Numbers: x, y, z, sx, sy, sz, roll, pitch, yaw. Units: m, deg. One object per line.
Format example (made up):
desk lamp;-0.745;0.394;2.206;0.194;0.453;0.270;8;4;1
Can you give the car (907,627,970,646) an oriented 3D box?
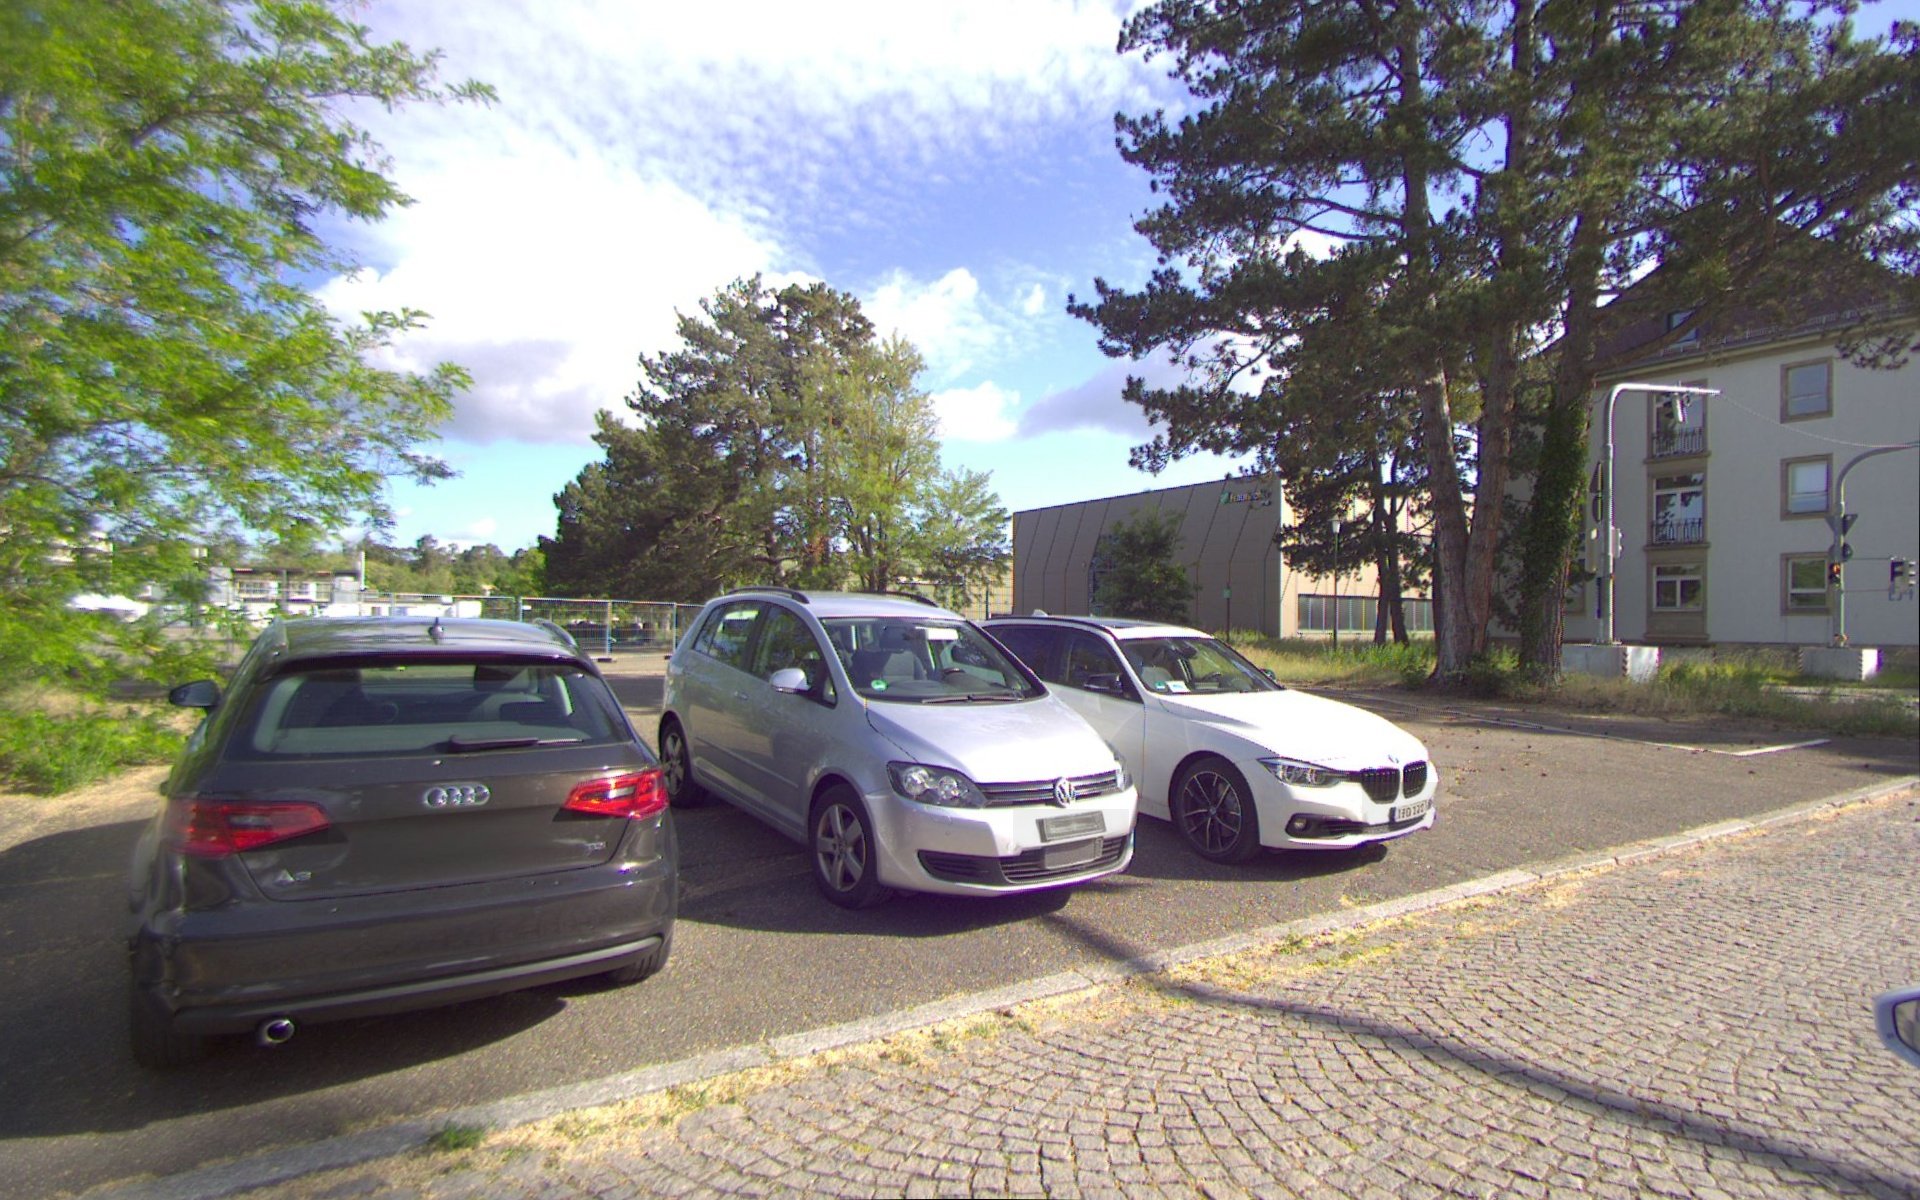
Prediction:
car;-1.428;2.453;66.955;3.951;1.221;1.481;1;-1;-29

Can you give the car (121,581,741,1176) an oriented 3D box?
car;-2.501;0.729;4.699;1.669;1.490;3.775;1;1;-32

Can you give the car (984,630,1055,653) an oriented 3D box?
car;3.505;2.413;59.061;4.002;1.311;1.480;1;-1;-30

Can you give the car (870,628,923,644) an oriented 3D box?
car;-4.654;2.628;73.448;3.634;1.090;1.399;1;-1;-29

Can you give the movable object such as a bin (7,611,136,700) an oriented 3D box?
movable object such as a bin;-12.312;0.731;14.006;0.987;1.122;2.265;1;-1;-33

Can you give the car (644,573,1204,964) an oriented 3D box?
car;-0.540;0.711;6.465;1.705;1.648;3.916;1;1;-35

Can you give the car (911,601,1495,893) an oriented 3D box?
car;1.517;0.836;7.967;1.734;1.487;4.512;1;1;-34
